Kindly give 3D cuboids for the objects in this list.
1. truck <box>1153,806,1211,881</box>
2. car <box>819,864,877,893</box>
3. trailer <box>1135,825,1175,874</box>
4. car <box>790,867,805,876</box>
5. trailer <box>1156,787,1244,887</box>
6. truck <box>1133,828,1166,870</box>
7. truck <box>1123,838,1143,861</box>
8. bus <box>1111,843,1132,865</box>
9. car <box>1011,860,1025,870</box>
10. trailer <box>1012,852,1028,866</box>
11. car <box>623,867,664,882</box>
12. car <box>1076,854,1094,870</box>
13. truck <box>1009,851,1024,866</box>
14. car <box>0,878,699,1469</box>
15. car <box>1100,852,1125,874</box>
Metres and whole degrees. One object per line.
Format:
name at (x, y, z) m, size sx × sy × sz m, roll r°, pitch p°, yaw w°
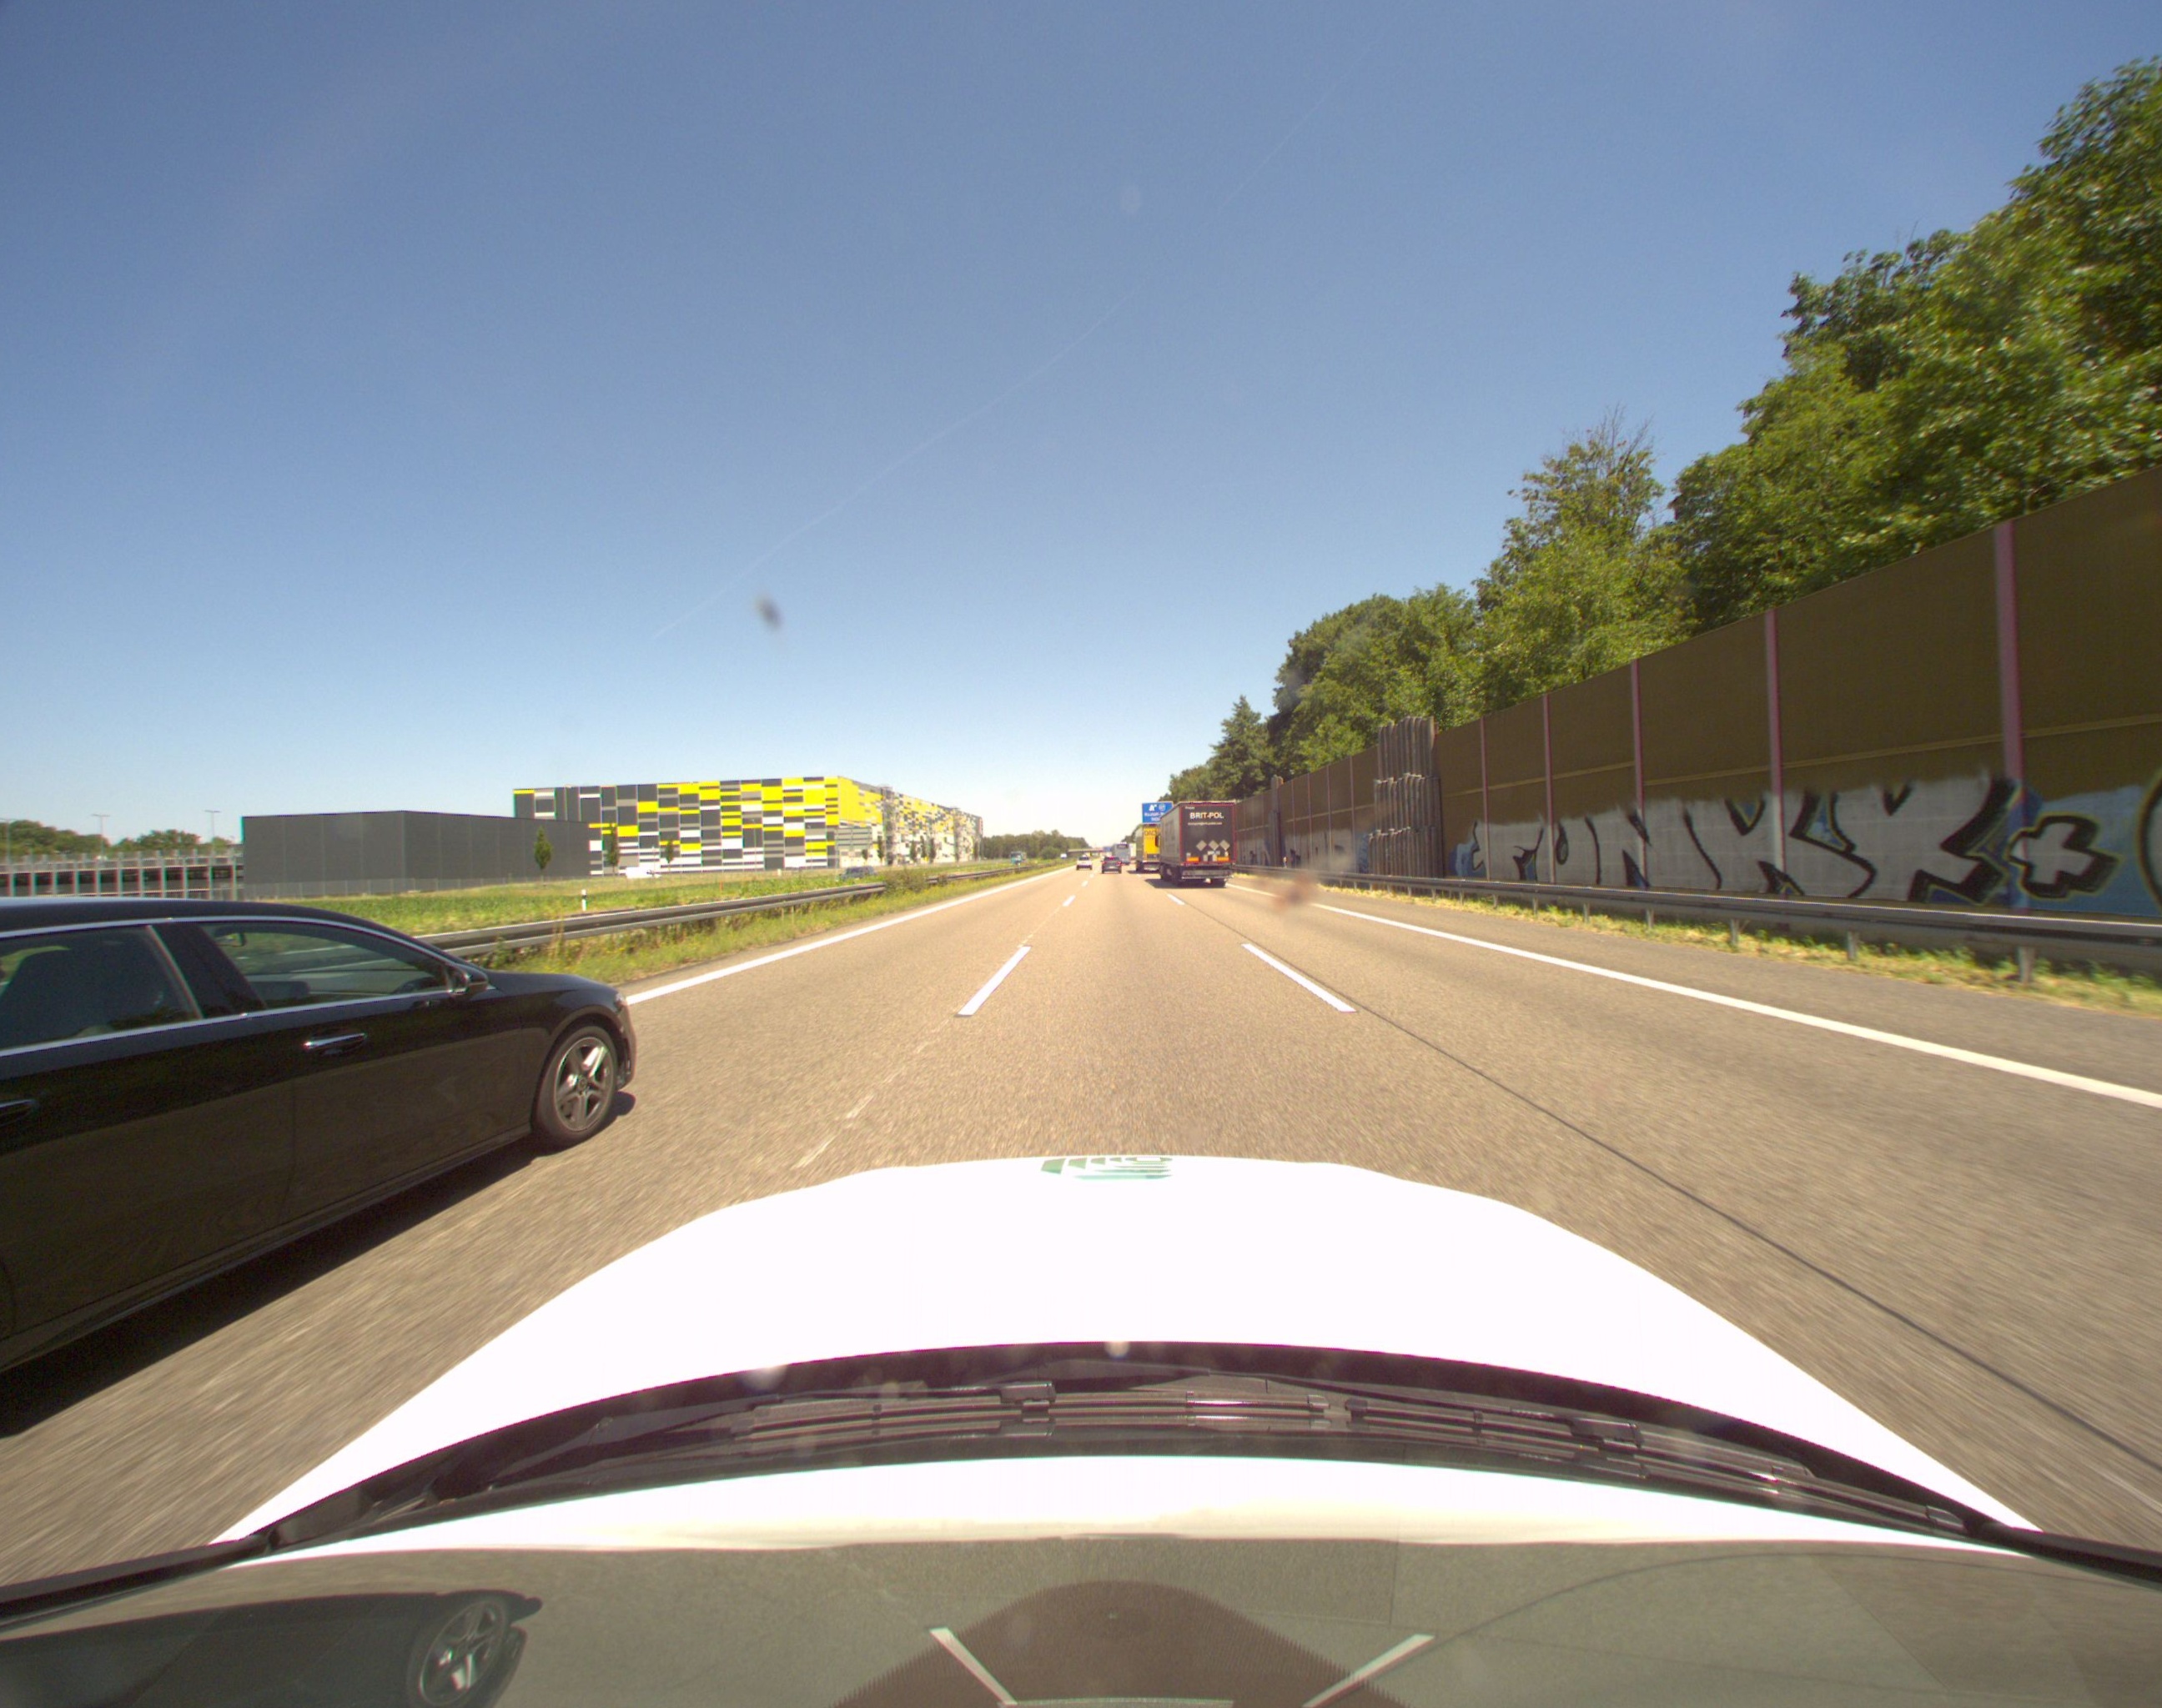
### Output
truck at (6.299, -0.608, 51.649) m, size 3.075 × 4.441 × 6.056 m, roll -1°, pitch -1°, yaw 2°
car at (-15.256, 1.580, 53.636) m, size 1.986 × 1.680 × 5.555 m, roll -3°, pitch -1°, yaw 2°
trailer at (6.587, -0.381, 73.829) m, size 2.824 × 3.953 × 11.687 m, roll -1°, pitch 0°, yaw 2°
car at (-60.881, 3.791, 175.043) m, size 1.679 × 1.727 × 4.112 m, roll -2°, pitch 0°, yaw 0°
trailer at (6.037, -0.721, 44.137) m, size 3.094 × 4.507 × 14.903 m, roll -1°, pitch 0°, yaw 2°
truck at (6.759, -0.473, 80.846) m, size 2.803 × 4.006 × 6.646 m, roll -2°, pitch 0°, yaw 1°
truck at (9.930, -0.848, 155.756) m, size 3.409 × 4.126 × 9.571 m, roll -2°, pitch 0°, yaw 3°
bus at (6.427, -0.035, 130.457) m, size 3.052 × 3.326 × 8.274 m, roll -2°, pitch 0°, yaw 1°
car at (-11.815, 2.035, 153.390) m, size 1.986 × 1.639 × 5.666 m, roll -3°, pitch 0°, yaw 2°
trailer at (-14.134, 1.146, 189.040) m, size 2.665 × 3.238 × 9.263 m, roll -2°, pitch -1°, yaw 2°
car at (-69.782, 3.227, 129.820) m, size 5.627 × 2.178 × 2.088 m, roll -2°, pitch 0°, yaw -31°
car at (0.460, 0.922, 93.772) m, size 1.986 × 1.728 × 4.131 m, roll -1°, pitch 0°, yaw 1°
truck at (-14.421, 1.115, 183.275) m, size 2.687 × 3.250 × 5.840 m, roll -2°, pitch -1°, yaw 2°
car at (-3.619, 0.888, 3.649) m, size 1.785 × 1.412 × 4.053 m, roll -1°, pitch 0°, yaw 1°
car at (2.837, 0.788, 74.033) m, size 2.208 × 1.790 × 5.395 m, roll -2°, pitch 0°, yaw 2°
